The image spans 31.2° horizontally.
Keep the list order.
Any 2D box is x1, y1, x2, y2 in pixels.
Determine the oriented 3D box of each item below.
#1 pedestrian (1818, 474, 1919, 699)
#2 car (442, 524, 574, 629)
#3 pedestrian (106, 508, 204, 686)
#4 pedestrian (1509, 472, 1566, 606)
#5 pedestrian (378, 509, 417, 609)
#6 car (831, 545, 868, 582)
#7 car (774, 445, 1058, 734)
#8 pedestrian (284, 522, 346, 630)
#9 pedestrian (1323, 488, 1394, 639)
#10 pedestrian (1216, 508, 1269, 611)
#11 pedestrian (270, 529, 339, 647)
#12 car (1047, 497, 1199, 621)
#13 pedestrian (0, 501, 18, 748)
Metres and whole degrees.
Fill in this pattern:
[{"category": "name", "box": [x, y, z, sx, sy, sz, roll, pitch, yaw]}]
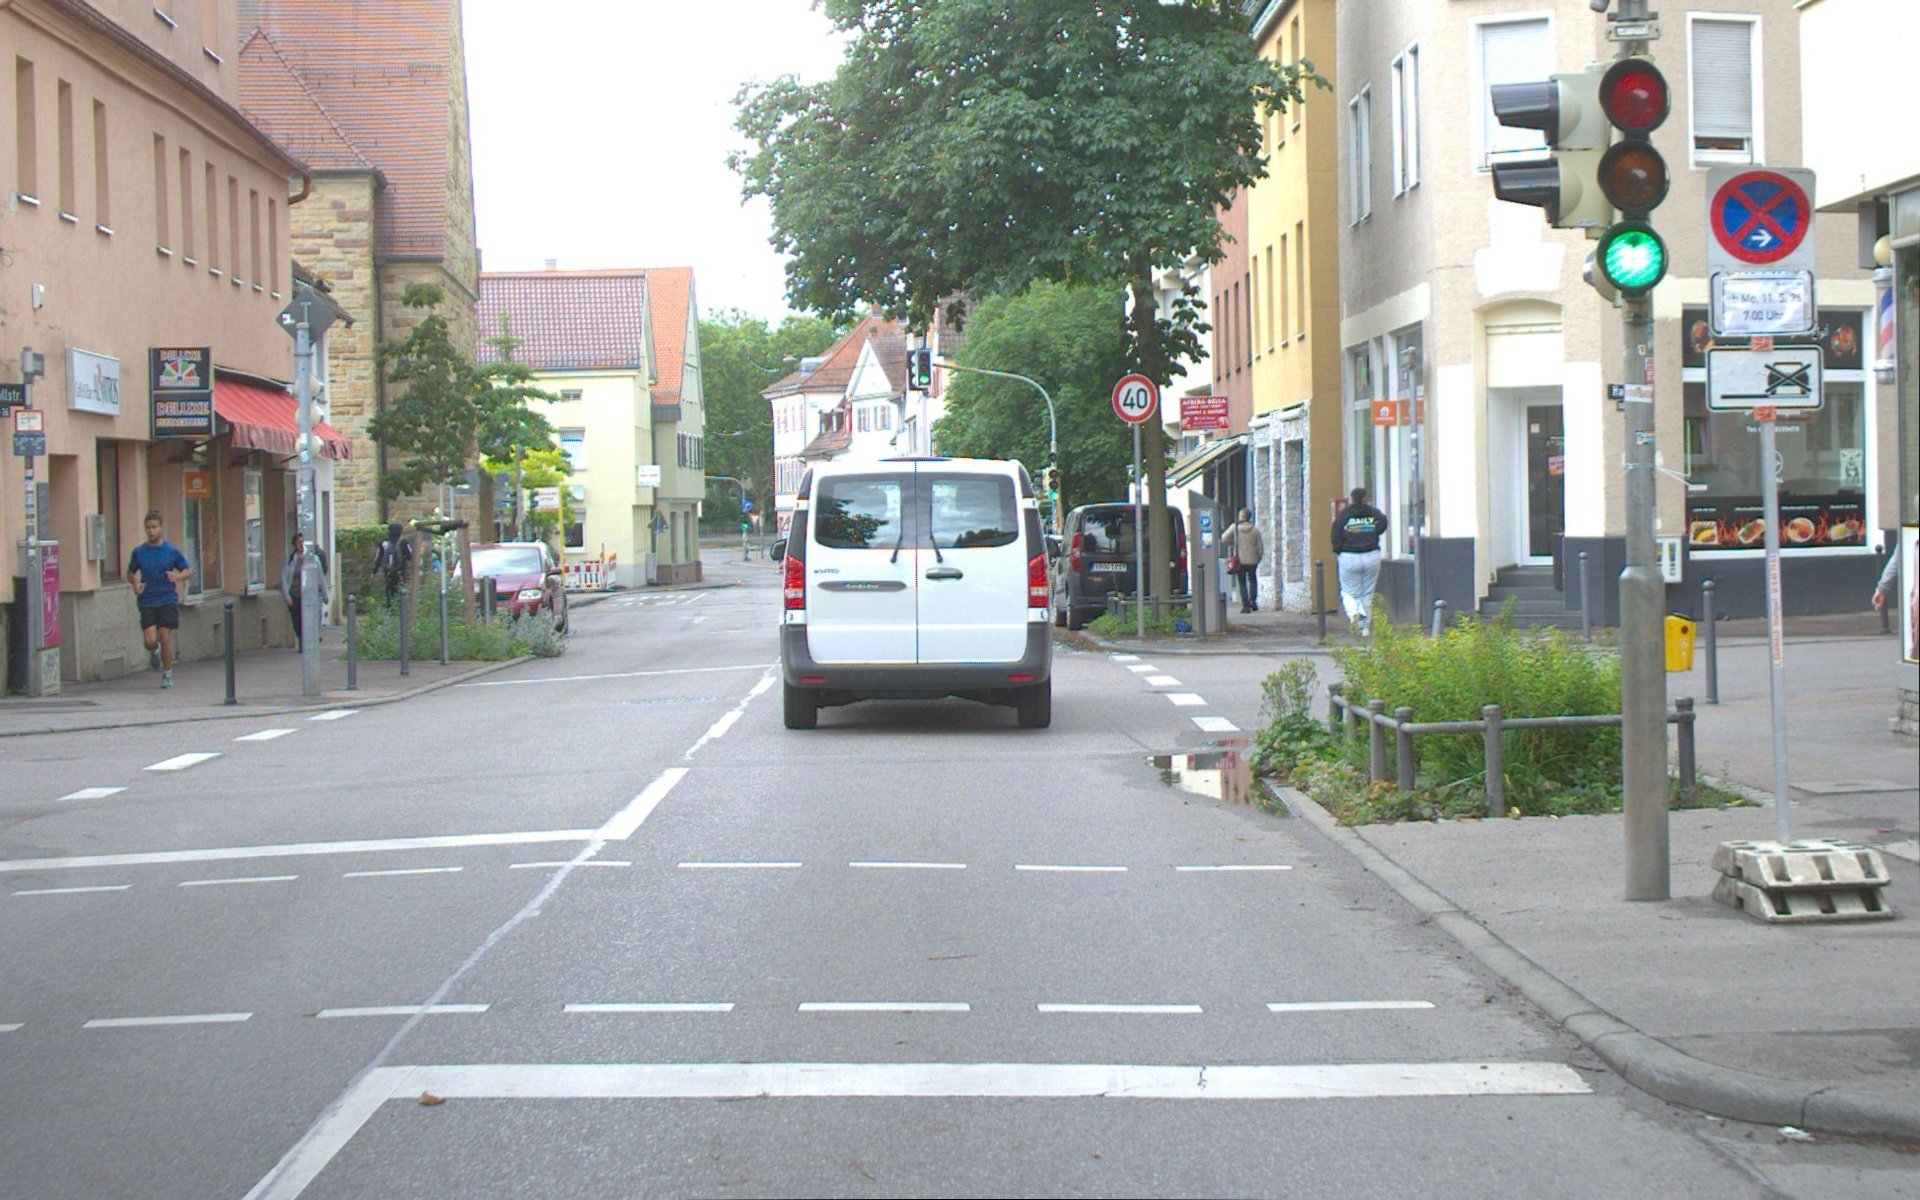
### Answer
[{"category": "pedestrian", "box": [7.005, -0.105, 25.816, 0.674, 1.658, 0.800, -2, 1, -37]}, {"category": "car", "box": [-7.429, -0.420, 56.822, 1.702, 1.568, 4.451, -3, 1, -2]}, {"category": "pedestrian", "box": [-7.887, -0.040, 33.714, 0.738, 1.712, 1.157, -1, 1, -4]}, {"category": "pedestrian", "box": [6.765, -0.710, 40.274, 0.567, 1.555, 0.521, 0, 0, -1]}, {"category": "pedestrian", "box": [-10.556, -0.774, 64.515, 0.571, 1.842, 0.697, 2, 1, -1]}, {"category": "car", "box": [-5.925, -1.953, 184.352, 1.934, 2.007, 4.000, 0, 0, -3]}, {"category": "car", "box": [-0.327, -0.103, 24.979, 1.872, 1.905, 4.000, -1, 1, -1]}, {"category": "pedestrian", "box": [-9.866, -0.371, 52.593, 0.730, 1.623, 0.759, -2, 1, -25]}, {"category": "pedestrian", "box": [4.421, -0.415, 38.204, 0.614, 1.647, 0.983, -1, 1, -2]}, {"category": "pedestrian", "box": [4.589, -0.659, 55.900, 0.701, 1.643, 0.889, -2, 1, -2]}, {"category": "pedestrian", "box": [-8.615, -0.162, 45.222, 0.738, 1.529, 0.983, -1, 1, -3]}, {"category": "car", "box": [2.408, -0.613, 51.881, 1.819, 1.775, 4.404, -1, 0, -3]}, {"category": "pedestrian", "box": [-7.163, 0.177, 24.320, 0.738, 1.748, 0.983, -1, 1, -2]}]
